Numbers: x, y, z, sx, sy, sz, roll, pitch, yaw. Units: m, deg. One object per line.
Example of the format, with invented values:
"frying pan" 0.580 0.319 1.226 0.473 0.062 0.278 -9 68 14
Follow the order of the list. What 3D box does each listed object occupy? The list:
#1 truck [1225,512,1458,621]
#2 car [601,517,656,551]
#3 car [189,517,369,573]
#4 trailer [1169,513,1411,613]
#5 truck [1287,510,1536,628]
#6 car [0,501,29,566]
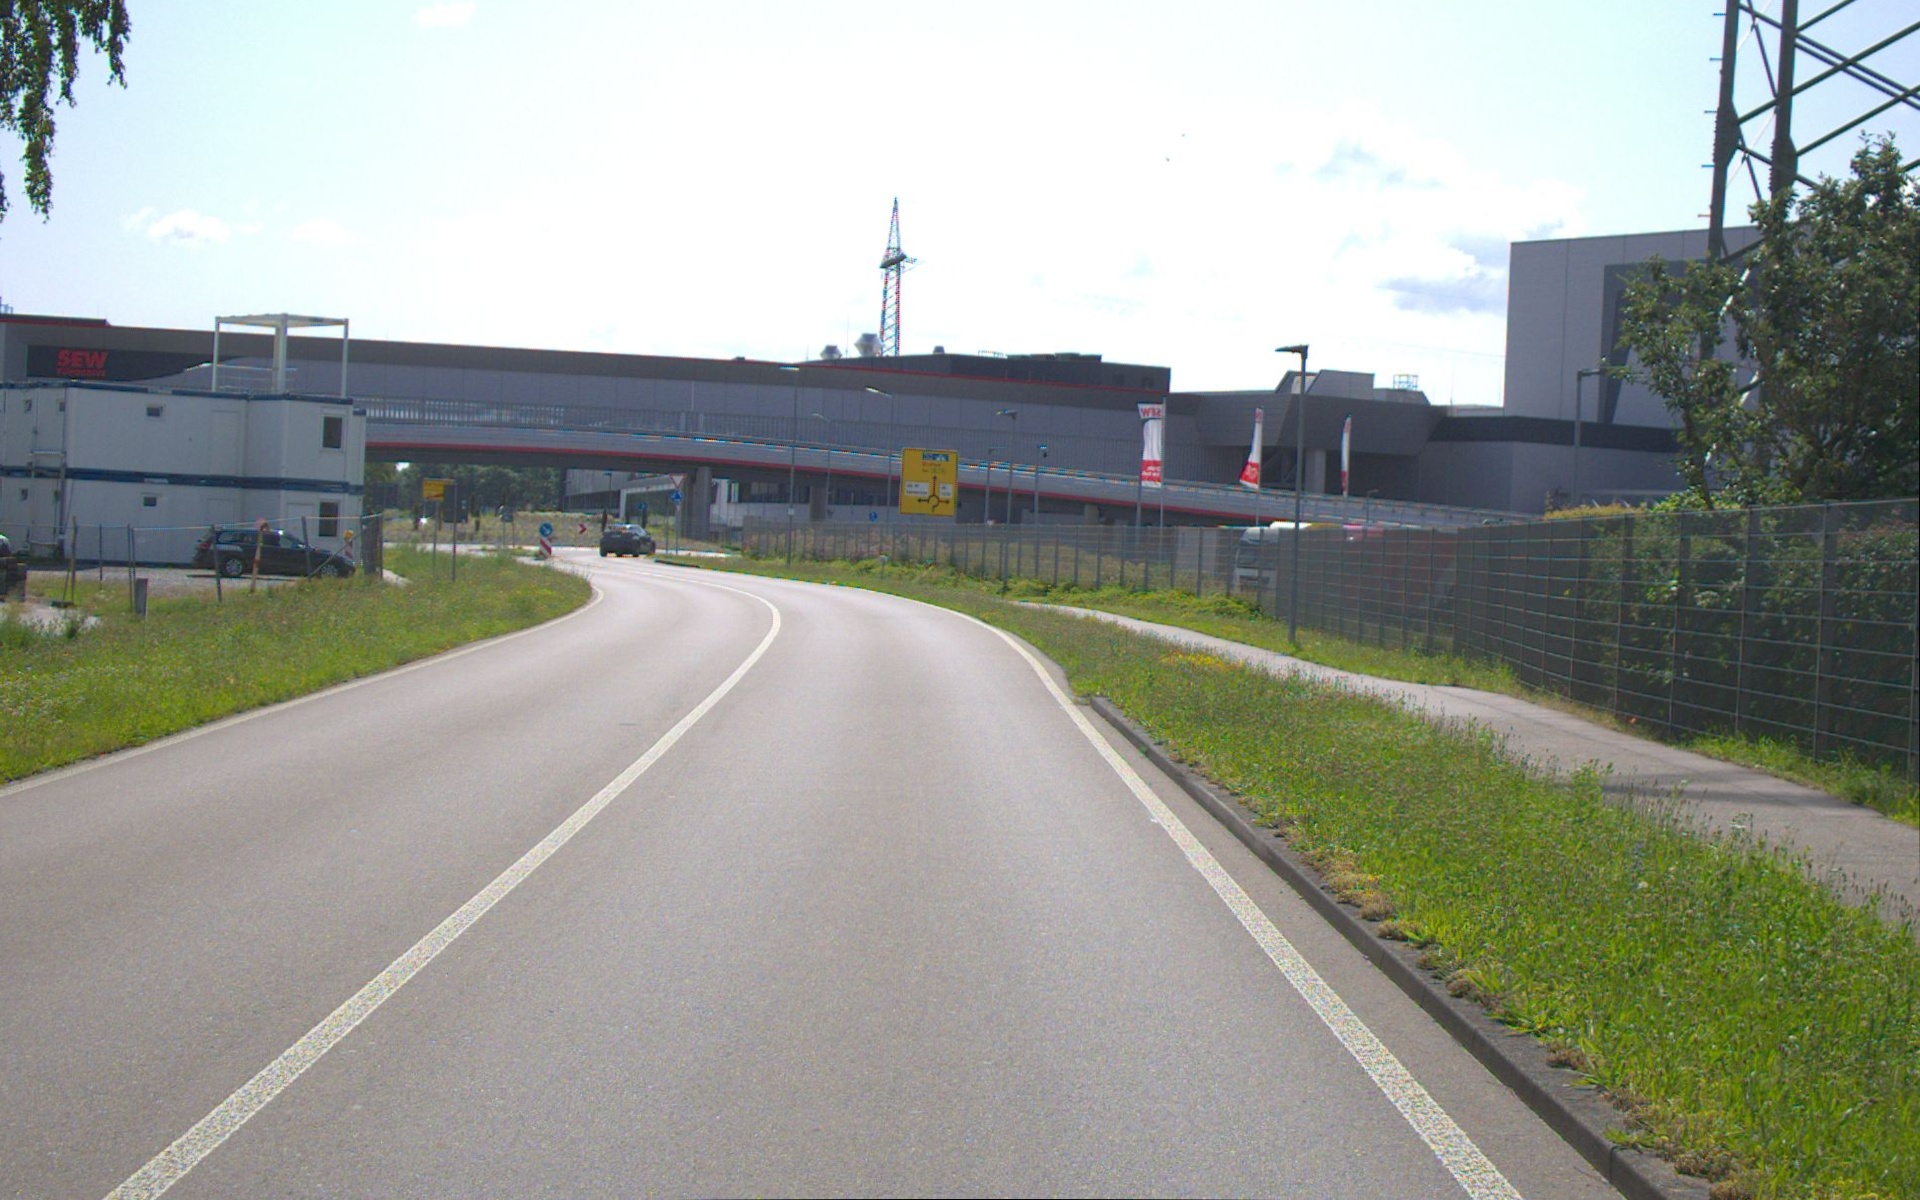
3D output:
"truck" 15.503 -1.317 138.864 10.943 4.158 2.821 1 1 -43
"car" -15.563 -3.093 161.415 1.994 1.539 4.000 1 1 3
"car" -20.204 -1.625 101.977 4.967 1.412 2.001 2 2 -20
"trailer" 15.623 -1.683 161.518 14.025 4.423 2.765 1 1 -44
"truck" 17.135 -1.127 129.851 10.944 4.242 3.027 1 1 -44
"car" -29.894 -2.048 99.922 5.006 1.860 1.999 2 1 -40
